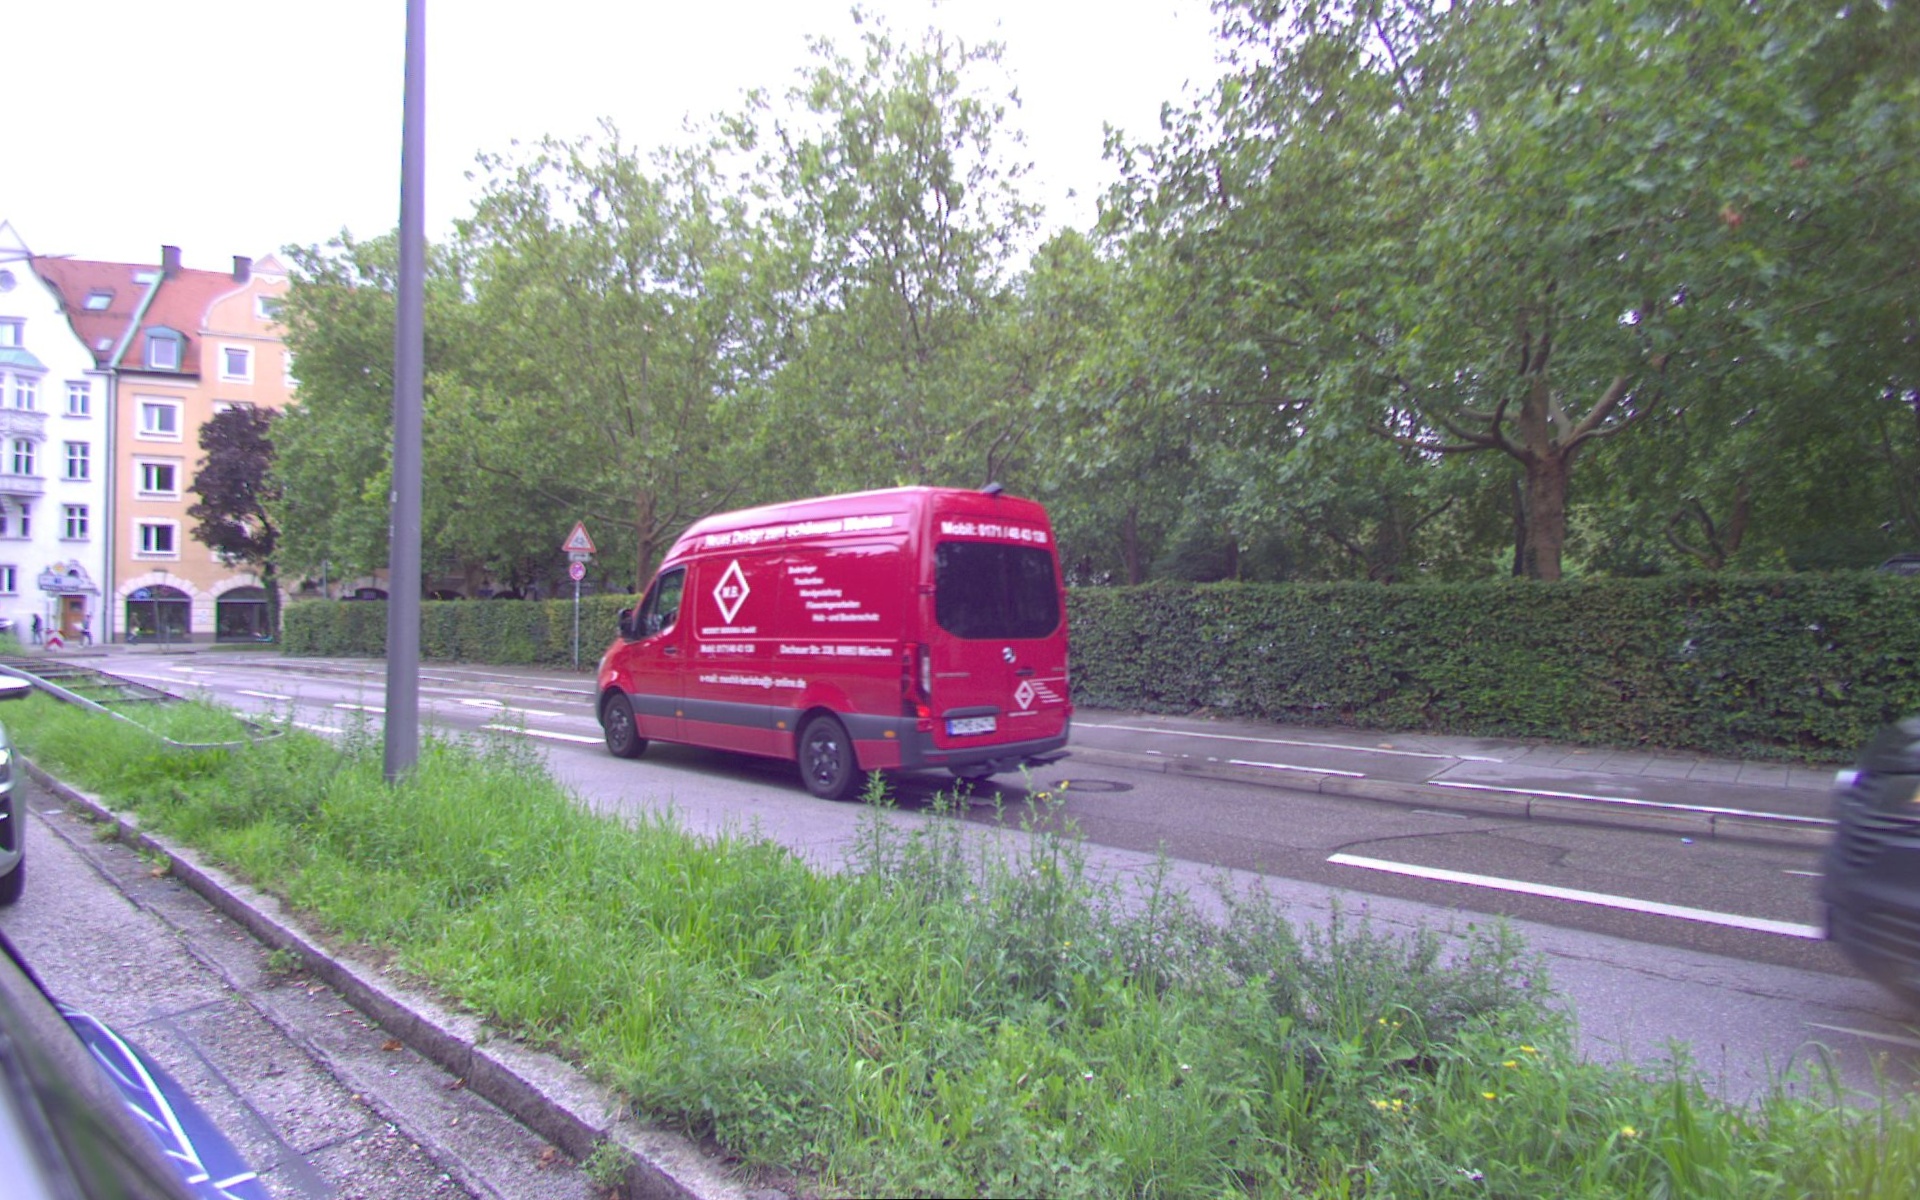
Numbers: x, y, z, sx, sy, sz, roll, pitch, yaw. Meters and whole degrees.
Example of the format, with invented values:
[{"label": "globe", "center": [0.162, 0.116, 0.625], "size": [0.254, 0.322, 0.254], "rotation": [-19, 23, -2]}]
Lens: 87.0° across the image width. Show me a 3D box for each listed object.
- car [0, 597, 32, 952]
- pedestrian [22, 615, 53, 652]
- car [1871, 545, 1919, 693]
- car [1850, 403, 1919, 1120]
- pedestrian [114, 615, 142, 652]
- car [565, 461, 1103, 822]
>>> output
[{"label": "car", "center": [-6.137, 0.774, 5.083], "size": [3.884, 1.542, 1.688], "rotation": [-1, -2, 40]}, {"label": "pedestrian", "center": [-51.646, 1.856, 56.650], "size": [0.991, 2.029, 0.881], "rotation": [-1, 0, -18]}, {"label": "car", "center": [18.908, 0.301, 19.373], "size": [2.000, 2.554, 5.779], "rotation": [-1, 0, 44]}, {"label": "car", "center": [5.003, 0.423, 2.061], "size": [4.701, 2.006, 1.838], "rotation": [-2, -2, 41]}, {"label": "pedestrian", "center": [-47.329, 1.894, 57.578], "size": [0.991, 2.029, 0.881], "rotation": [-1, 0, -18]}, {"label": "car", "center": [-1.648, 0.445, 10.210], "size": [6.083, 2.609, 2.079], "rotation": [-3, -4, 45]}]
